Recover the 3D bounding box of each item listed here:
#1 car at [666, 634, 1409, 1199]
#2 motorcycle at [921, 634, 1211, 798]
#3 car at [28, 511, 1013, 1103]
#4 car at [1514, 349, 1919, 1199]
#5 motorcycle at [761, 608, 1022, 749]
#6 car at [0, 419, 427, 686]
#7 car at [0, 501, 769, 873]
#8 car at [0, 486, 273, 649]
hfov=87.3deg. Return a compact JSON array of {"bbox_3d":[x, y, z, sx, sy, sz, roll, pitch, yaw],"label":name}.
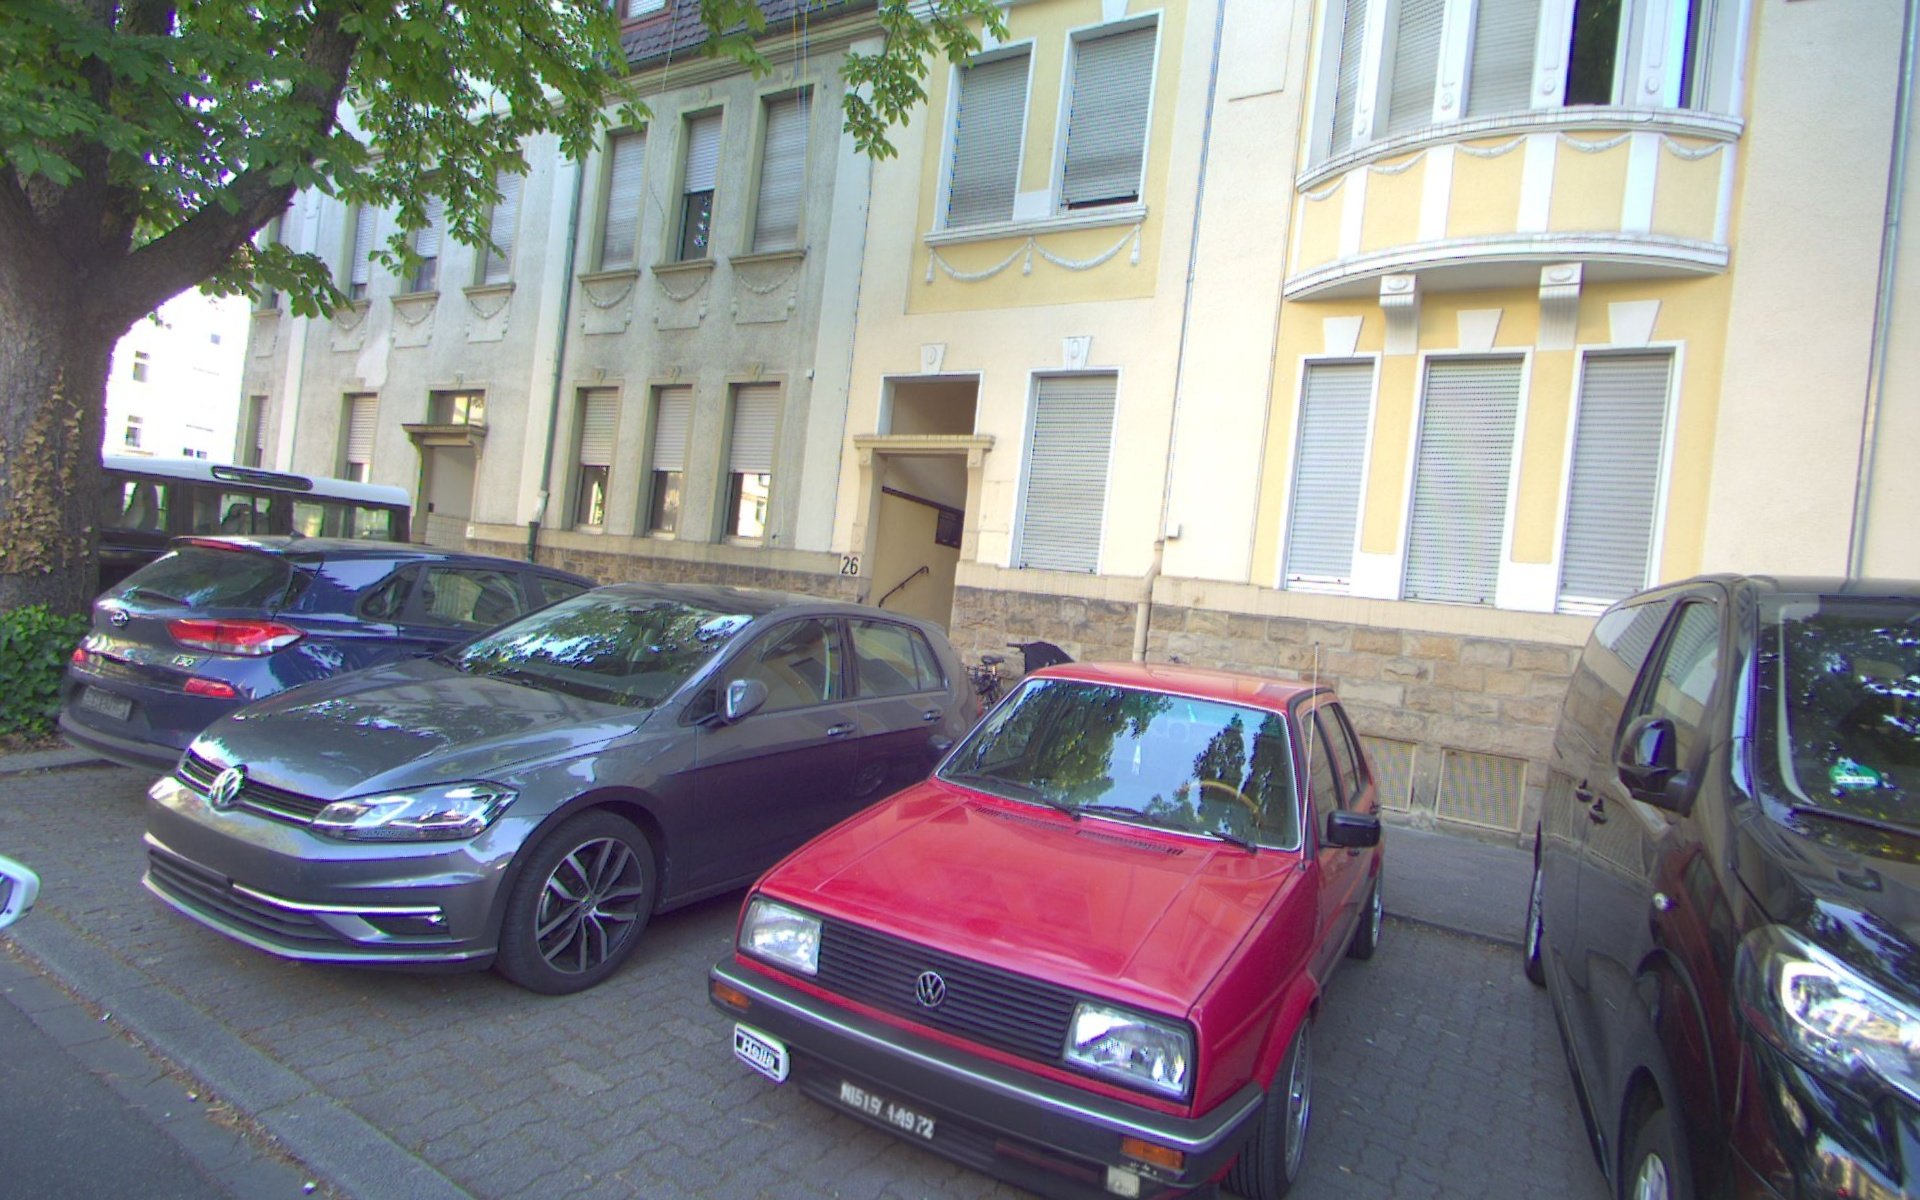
[{"bbox_3d":[0.873,0.952,4.307,1.601,1.332,4.144,6,0,27],"label":"car"},{"bbox_3d":[0.953,1.004,9.398,2.439,1.087,0.959,7,2,32],"label":"motorcycle"},{"bbox_3d":[-1.434,0.627,4.819,1.693,1.470,4.060,6,0,28],"label":"car"},{"bbox_3d":[2.850,0.876,2.880,1.864,1.898,4.759,6,0,27],"label":"car"},{"bbox_3d":[-0.792,0.783,10.787,2.822,1.087,0.694,7,2,31],"label":"motorcycle"},{"bbox_3d":[-7.595,-0.363,9.239,1.671,2.061,4.473,6,0,28],"label":"car"},{"bbox_3d":[-3.087,0.431,6.202,1.679,1.470,3.730,6,0,28],"label":"car"},{"bbox_3d":[-9.989,-0.380,10.940,1.679,1.589,3.730,6,0,28],"label":"car"}]
